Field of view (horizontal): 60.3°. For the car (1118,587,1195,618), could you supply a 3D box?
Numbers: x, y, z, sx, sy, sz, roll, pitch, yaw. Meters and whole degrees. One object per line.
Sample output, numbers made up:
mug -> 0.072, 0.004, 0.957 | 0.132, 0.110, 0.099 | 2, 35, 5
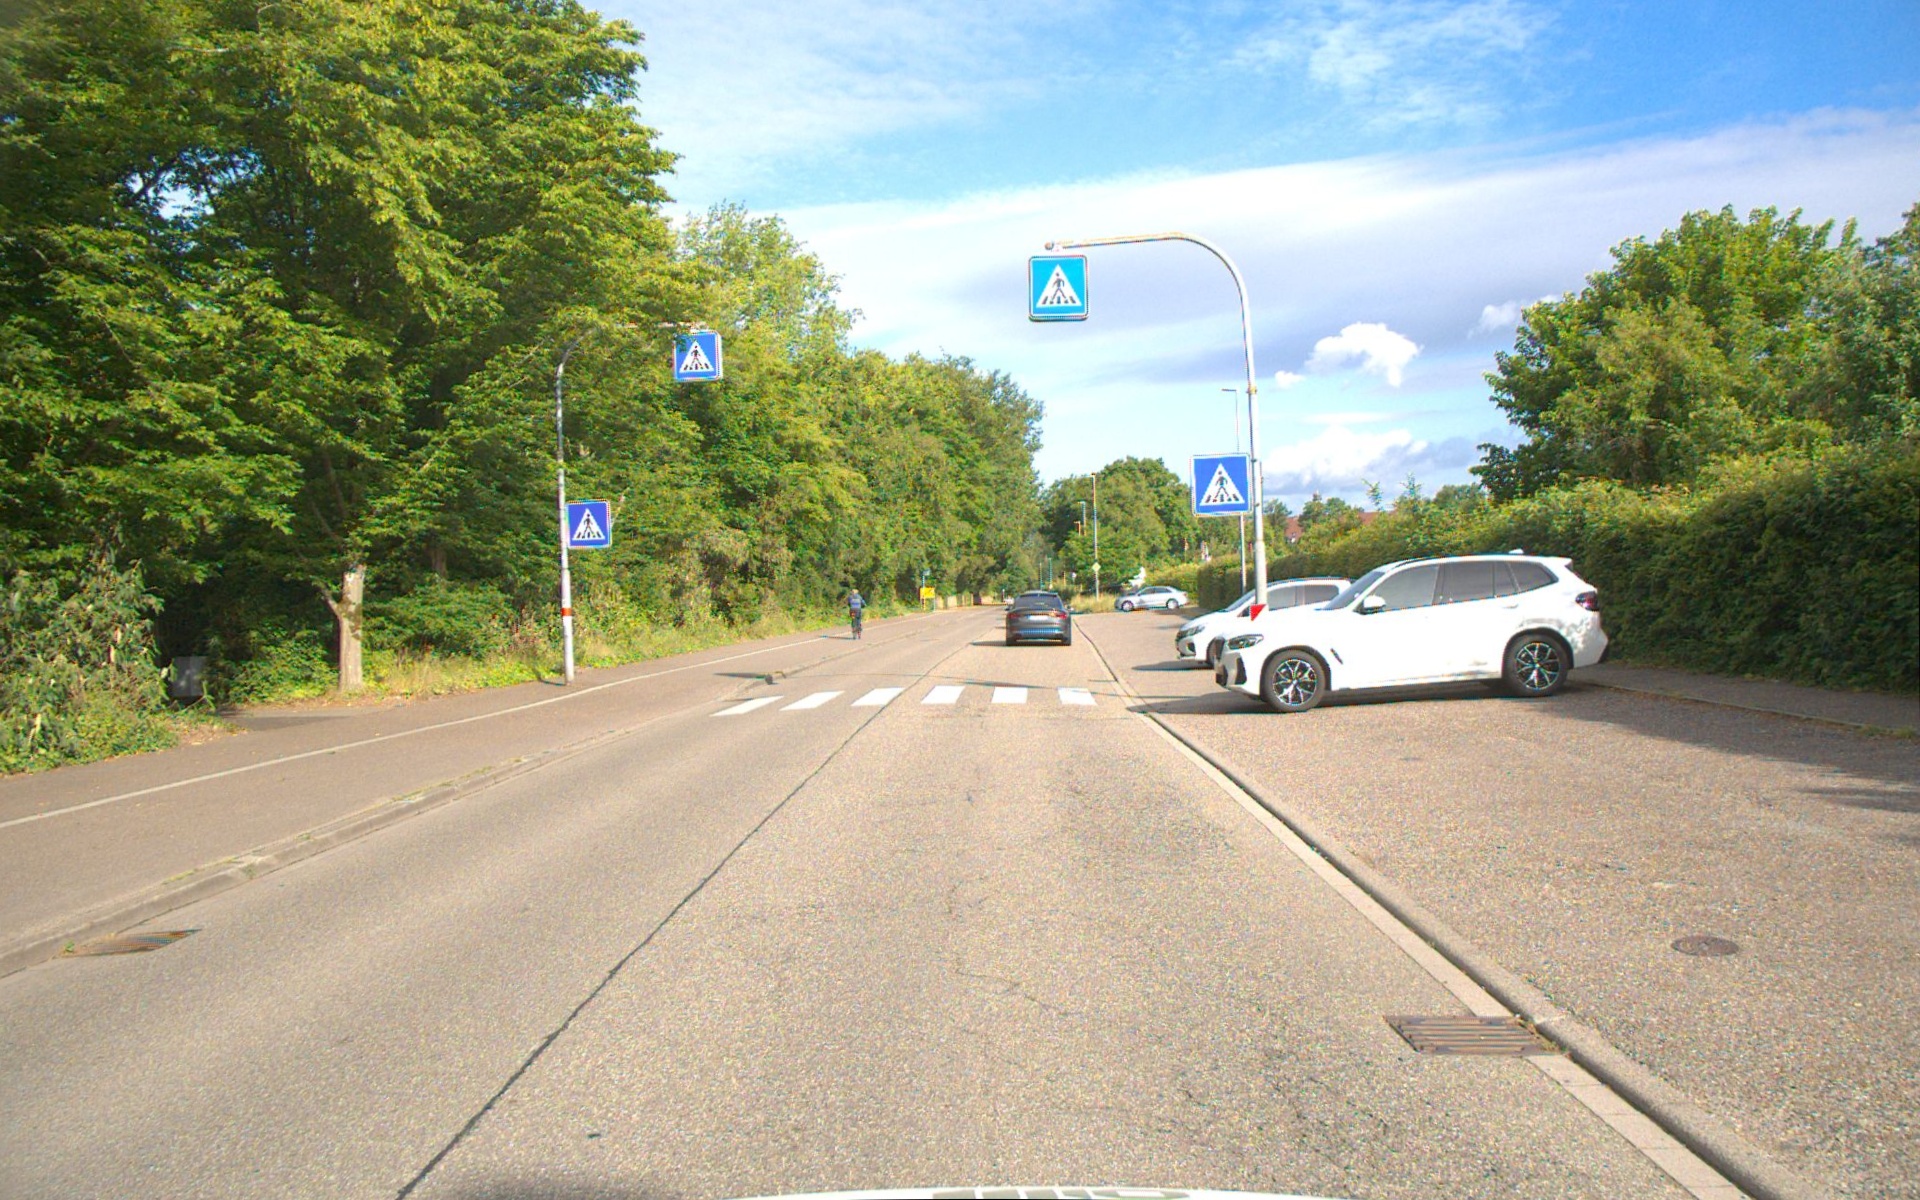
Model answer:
car -> 11.365, 0.144, 95.565 | 4.269, 1.468, 1.934 | -4, 0, 10

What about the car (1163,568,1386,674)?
car -> 5.838, 0.373, 31.005 | 3.779, 1.515, 1.693 | -6, 1, 1

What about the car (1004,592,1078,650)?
car -> 2.277, 0.544, 45.915 | 1.925, 1.459, 4.338 | -2, 0, 3

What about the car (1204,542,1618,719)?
car -> 5.340, 0.355, 20.051 | 4.492, 1.729, 1.764 | -4, 0, 3

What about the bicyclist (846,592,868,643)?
bicyclist -> -3.534, 0.596, 56.596 | 0.596, 1.706, 0.884 | -1, 0, 3

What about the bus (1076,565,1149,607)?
bus -> 11.586, -1.076, 125.835 | 5.256, 2.794, 2.069 | -4, 1, 0

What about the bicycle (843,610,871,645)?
bicycle -> -3.519, 0.923, 56.689 | 0.648, 1.116, 2.350 | -1, 0, 4

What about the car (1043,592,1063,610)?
car -> 7.632, 0.077, 136.013 | 1.463, 1.389, 3.264 | -3, 0, 5
